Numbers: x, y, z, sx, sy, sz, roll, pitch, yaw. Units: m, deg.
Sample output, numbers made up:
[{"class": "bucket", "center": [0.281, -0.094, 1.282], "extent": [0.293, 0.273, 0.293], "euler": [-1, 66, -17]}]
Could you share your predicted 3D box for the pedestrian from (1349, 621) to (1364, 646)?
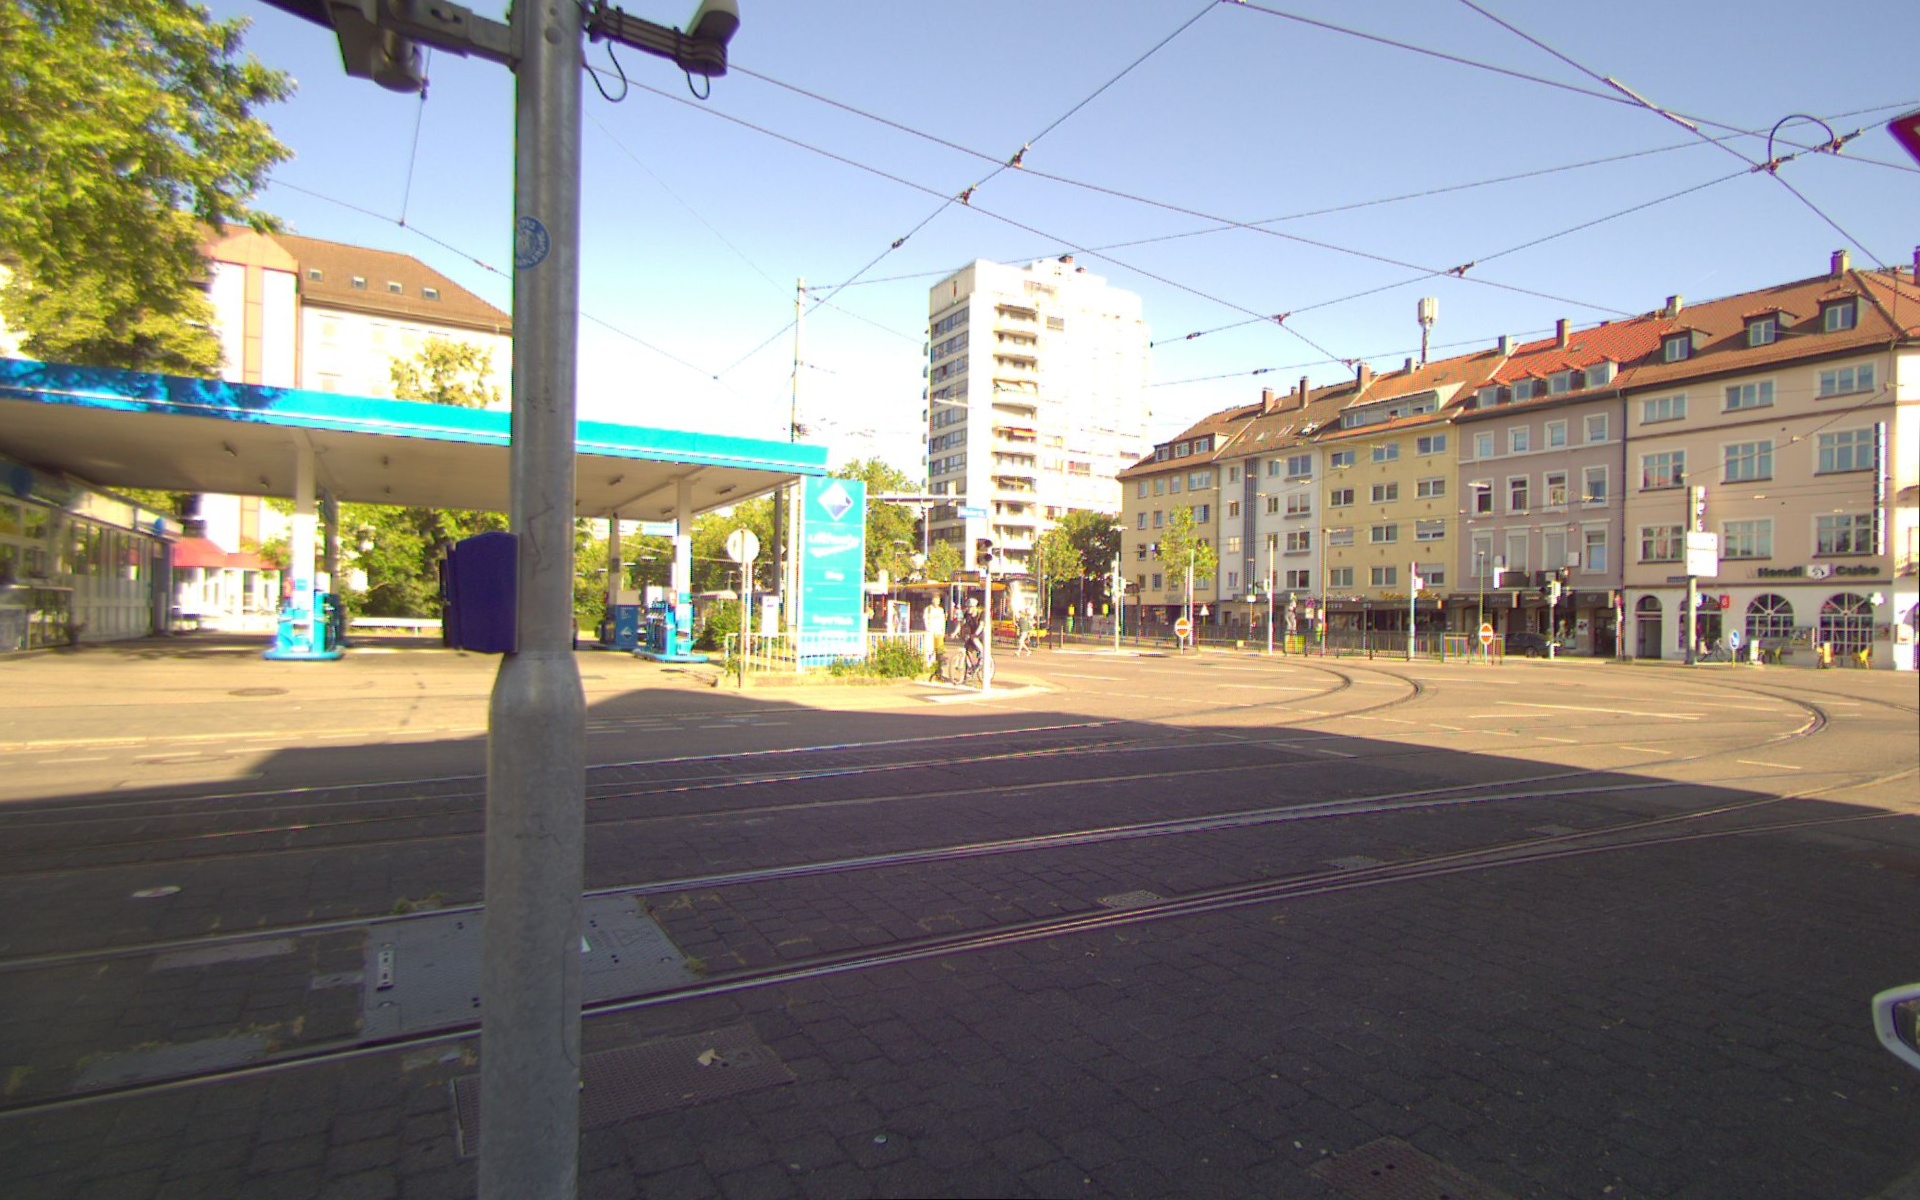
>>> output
[{"class": "pedestrian", "center": [27.121, 2.277, 68.647], "extent": [0.693, 1.656, 0.629], "euler": [2, 0, -33]}]

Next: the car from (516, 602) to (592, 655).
[{"class": "car", "center": [-12.191, 0.825, 30.064], "extent": [1.764, 1.411, 3.455], "euler": [2, 0, -28]}]

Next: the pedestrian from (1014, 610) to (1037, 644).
[{"class": "pedestrian", "center": [3.041, 1.249, 46.576], "extent": [0.814, 1.532, 0.699], "euler": [1, -1, -33]}]

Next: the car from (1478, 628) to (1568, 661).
[{"class": "car", "center": [30.850, 2.422, 55.131], "extent": [1.970, 1.692, 3.981], "euler": [1, -1, -21]}]

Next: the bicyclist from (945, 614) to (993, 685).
[{"class": "bicyclist", "center": [0.190, 0.991, 20.343], "extent": [0.552, 1.384, 0.798], "euler": [2, 0, 44]}]

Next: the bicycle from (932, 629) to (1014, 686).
[{"class": "bicycle", "center": [0.280, 1.156, 20.467], "extent": [0.567, 1.084, 1.783], "euler": [2, 0, 44]}]

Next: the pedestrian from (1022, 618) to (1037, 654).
[{"class": "pedestrian", "center": [3.355, 1.733, 48.191], "extent": [0.575, 1.686, 0.525], "euler": [2, 0, 15]}]

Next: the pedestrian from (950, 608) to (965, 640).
[{"class": "pedestrian", "center": [-0.130, 1.258, 52.365], "extent": [0.580, 1.613, 0.520], "euler": [2, 0, -31]}]

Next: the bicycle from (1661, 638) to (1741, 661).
[{"class": "bicycle", "center": [37.495, 2.496, 50.887], "extent": [0.989, 0.993, 3.115], "euler": [2, 0, -29]}]

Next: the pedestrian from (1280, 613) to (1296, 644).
[{"class": "pedestrian", "center": [17.533, 1.520, 53.701], "extent": [0.570, 1.649, 0.522], "euler": [2, 0, -31]}]

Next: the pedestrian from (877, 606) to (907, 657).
[{"class": "pedestrian", "center": [-2.223, 1.022, 32.904], "extent": [0.675, 1.656, 0.694], "euler": [2, 0, -35]}]

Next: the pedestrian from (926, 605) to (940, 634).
[{"class": "pedestrian", "center": [-1.510, 1.073, 56.163], "extent": [0.580, 1.613, 0.520], "euler": [2, 0, -31]}]

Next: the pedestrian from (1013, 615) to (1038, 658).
[{"class": "pedestrian", "center": [2.495, 1.369, 38.295], "extent": [0.692, 1.608, 0.822], "euler": [1, -1, 24]}]

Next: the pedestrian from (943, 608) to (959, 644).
[{"class": "pedestrian", "center": [-0.484, 1.388, 53.702], "extent": [0.666, 1.913, 0.520], "euler": [2, 0, -31]}]

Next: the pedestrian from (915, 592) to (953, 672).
[{"class": "pedestrian", "center": [-0.633, 0.775, 24.530], "extent": [0.778, 1.893, 0.674], "euler": [2, 0, 6]}]

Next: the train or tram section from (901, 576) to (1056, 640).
[{"class": "train or tram section", "center": [0.733, 0.356, 57.540], "extent": [2.751, 3.273, 12.286], "euler": [2, 0, -31]}]

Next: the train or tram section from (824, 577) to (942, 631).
[{"class": "train or tram section", "center": [-5.506, 0.204, 68.015], "extent": [2.751, 3.273, 12.286], "euler": [2, 0, -31]}]
